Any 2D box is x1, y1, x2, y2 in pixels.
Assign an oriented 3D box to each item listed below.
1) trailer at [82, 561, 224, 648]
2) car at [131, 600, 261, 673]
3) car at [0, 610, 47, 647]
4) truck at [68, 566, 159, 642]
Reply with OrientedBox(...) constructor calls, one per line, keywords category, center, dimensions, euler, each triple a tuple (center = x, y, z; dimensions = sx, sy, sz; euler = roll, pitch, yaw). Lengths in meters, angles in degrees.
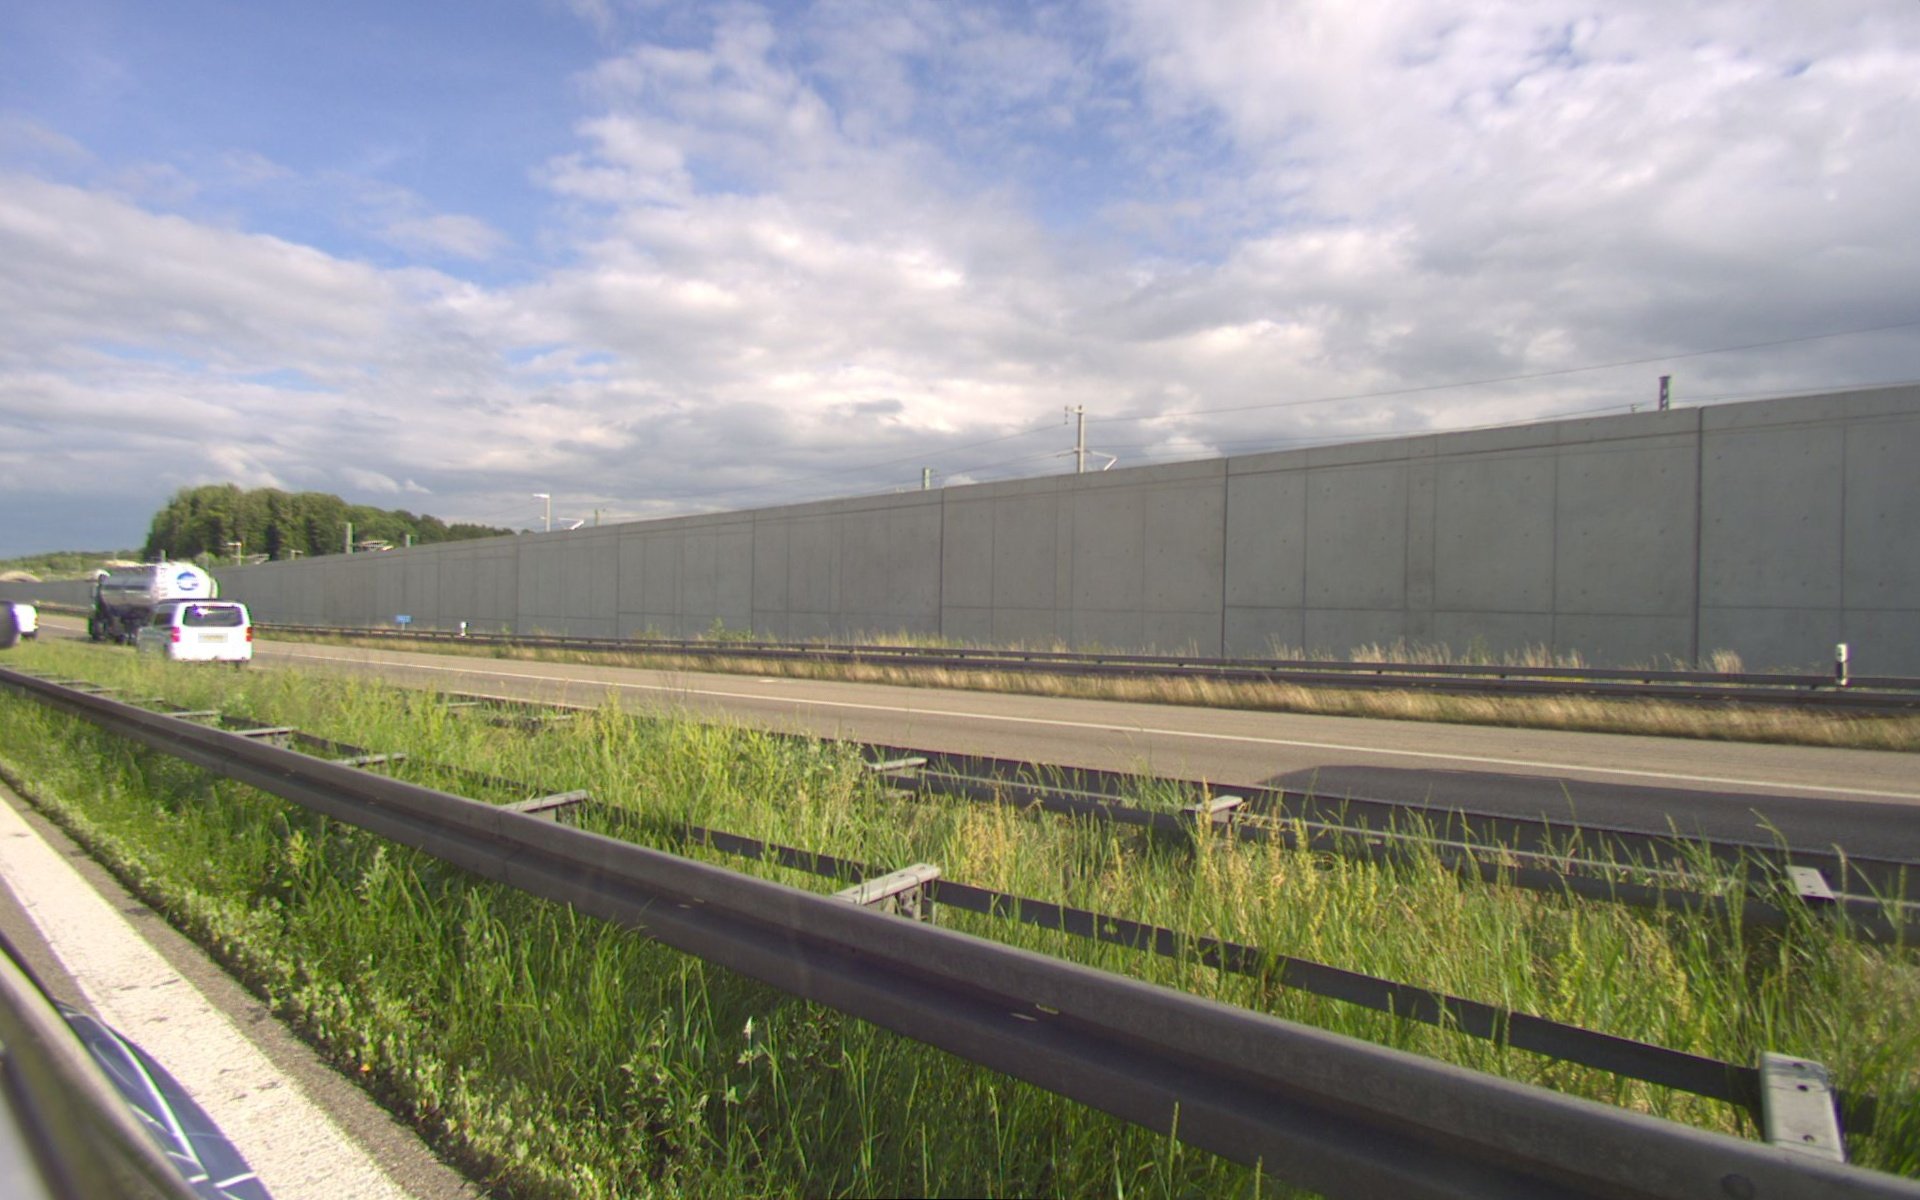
OrientedBox(category="trailer", center=(-39.587, 0.264, 49.418), dimensions=(12.524, 3.799, 2.516), euler=(0, -2, 38))
OrientedBox(category="car", center=(-21.665, 1.011, 28.623), dimensions=(4.785, 1.898, 1.972), euler=(-1, -3, 42))
OrientedBox(category="car", center=(-49.636, 1.463, 53.323), dimensions=(4.279, 1.847, 1.840), euler=(-1, 0, 42))
OrientedBox(category="truck", center=(-44.851, 0.272, 53.591), dimensions=(5.410, 3.827, 2.528), euler=(0, -2, 38))
